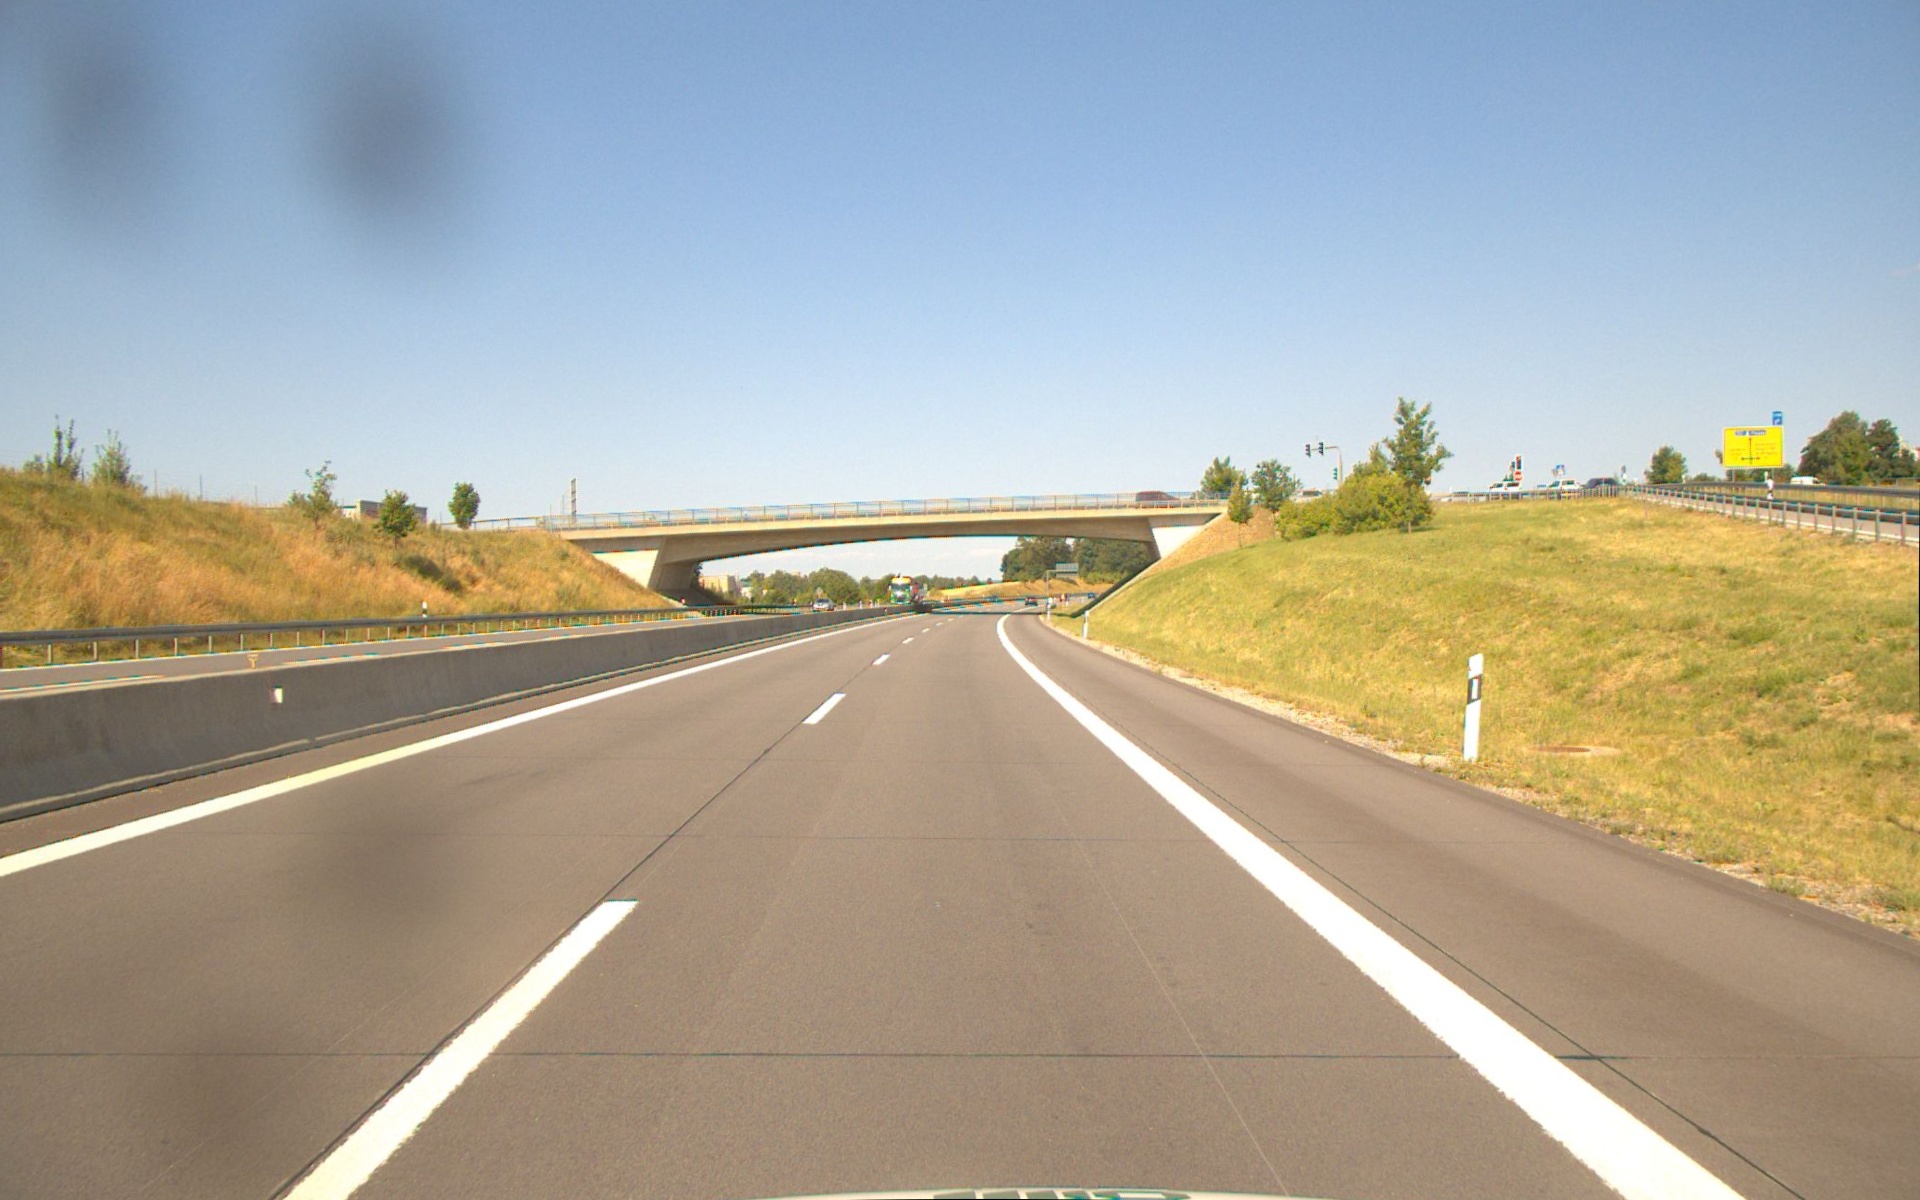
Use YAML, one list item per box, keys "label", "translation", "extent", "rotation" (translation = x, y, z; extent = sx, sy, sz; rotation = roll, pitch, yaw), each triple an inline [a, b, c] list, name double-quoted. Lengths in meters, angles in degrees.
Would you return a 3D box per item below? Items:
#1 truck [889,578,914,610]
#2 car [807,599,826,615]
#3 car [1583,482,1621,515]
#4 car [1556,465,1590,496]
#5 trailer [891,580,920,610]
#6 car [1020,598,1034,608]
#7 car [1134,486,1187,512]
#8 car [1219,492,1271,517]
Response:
- label: "truck"
  translation: [-7.438, -0.760, 211.000]
  extent: [2.678, 3.899, 5.833]
  rotation: [-1, 0, 2]
- label: "car"
  translation: [-14.779, 0.684, 170.280]
  extent: [1.825, 1.557, 4.564]
  rotation: [-1, 0, -5]
- label: "car"
  translation: [45.333, -7.141, 116.810]
  extent: [1.951, 2.049, 4.004]
  rotation: [-2, 0, 14]
- label: "car"
  translation: [46.215, -8.987, 124.830]
  extent: [1.951, 2.049, 4.003]
  rotation: [0, 0, 14]
- label: "trailer"
  translation: [-7.133, -0.673, 217.983]
  extent: [2.609, 3.721, 13.242]
  rotation: [-1, 0, 3]
- label: "car"
  translation: [10.021, 0.390, 247.526]
  extent: [1.952, 1.445, 4.002]
  rotation: [-2, 0, 3]
- label: "car"
  translation: [17.409, -8.779, 143.638]
  extent: [4.166, 2.056, 1.998]
  rotation: [-2, 1, -6]
- label: "car"
  translation: [24.944, -8.364, 144.791]
  extent: [4.045, 1.914, 1.997]
  rotation: [-2, 1, -7]
